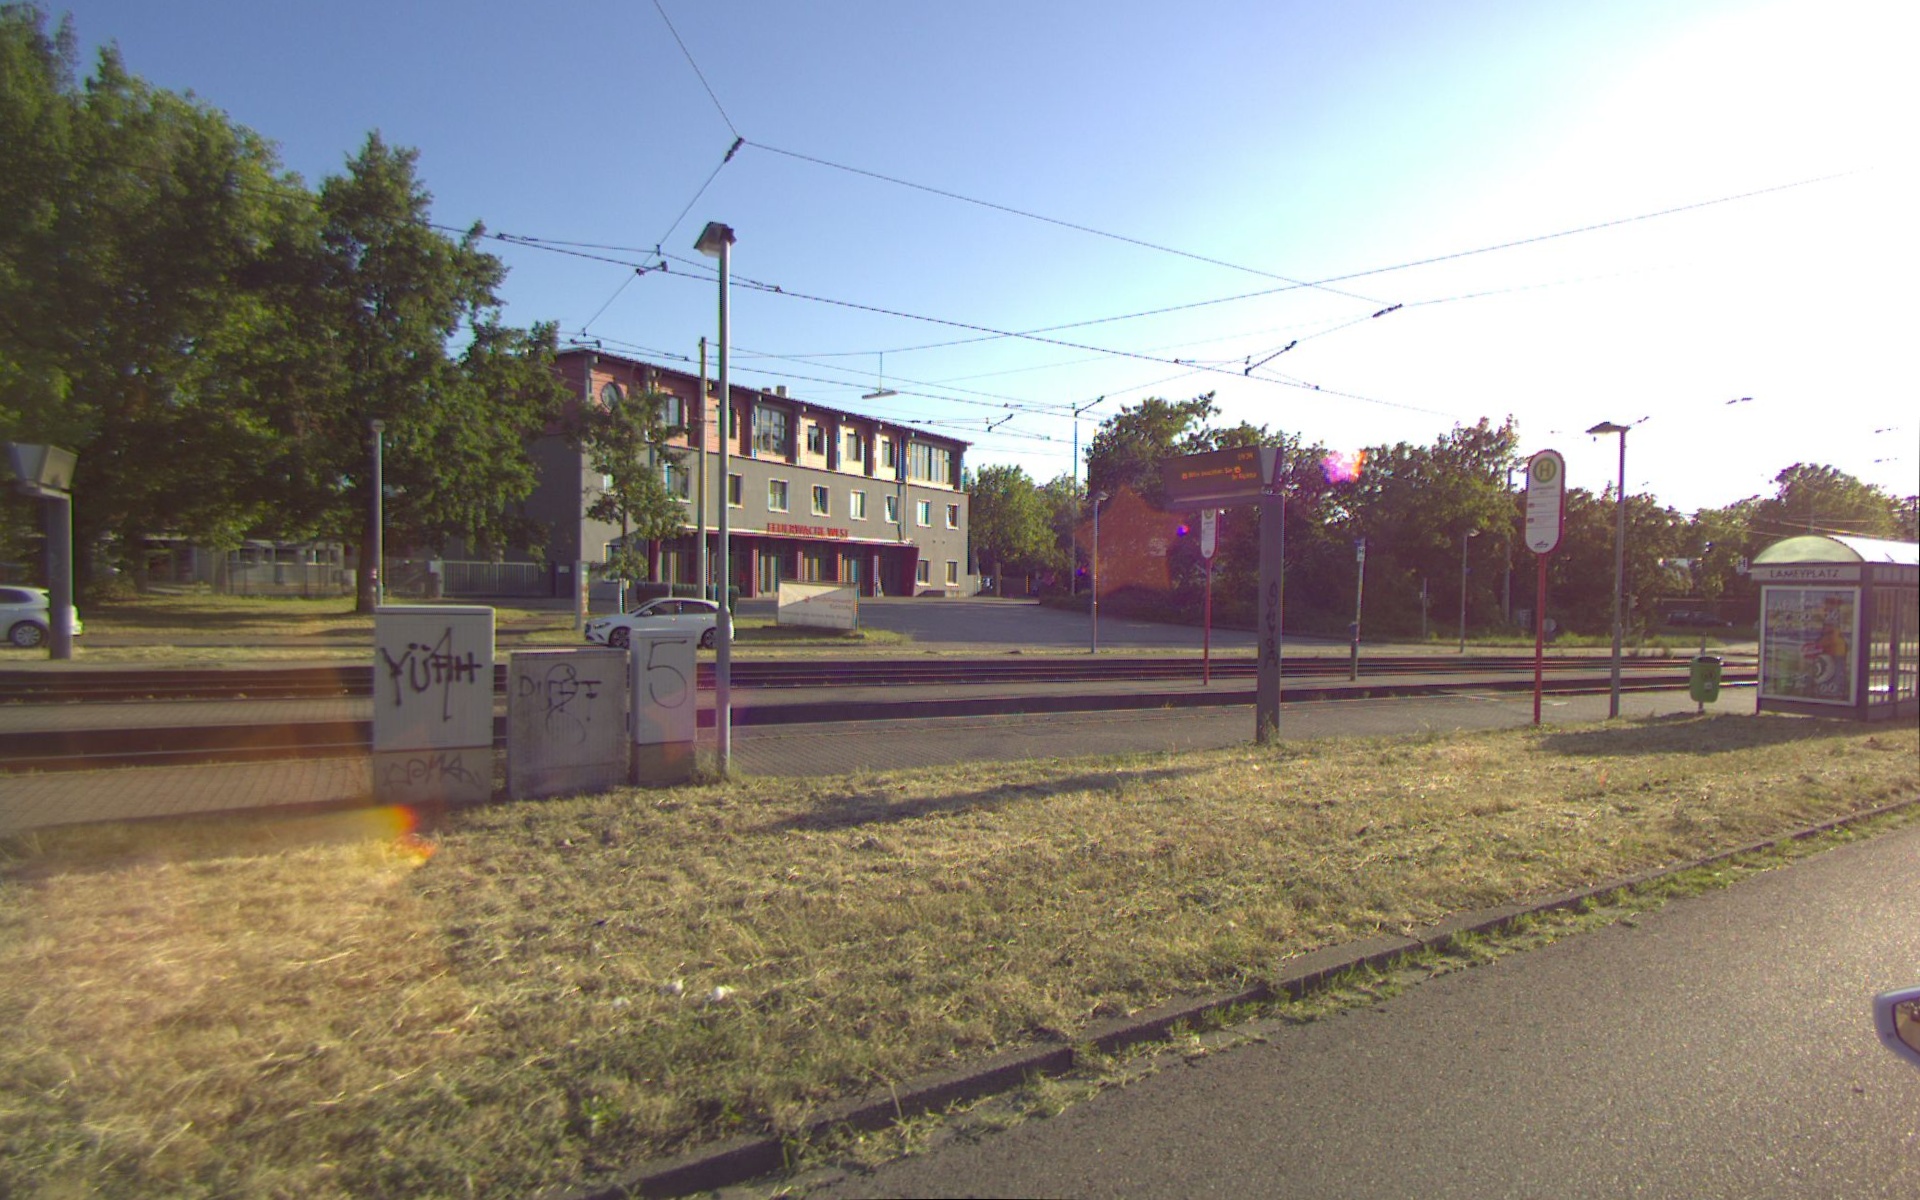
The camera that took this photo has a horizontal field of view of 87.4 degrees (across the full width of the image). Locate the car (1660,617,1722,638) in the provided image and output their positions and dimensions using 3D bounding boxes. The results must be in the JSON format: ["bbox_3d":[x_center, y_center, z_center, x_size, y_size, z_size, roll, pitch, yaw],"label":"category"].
[{"bbox_3d":[71.771,2.692,98.719,4.708,1.868,1.995,1,0,33],"label":"car"}]

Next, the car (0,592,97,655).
[{"bbox_3d":[-22.561,0.517,23.005,3.920,1.385,1.792,2,0,-31],"label":"car"}]

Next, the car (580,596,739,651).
[{"bbox_3d":[-9.098,0.709,30.504,4.341,1.552,1.648,1,0,-31],"label":"car"}]
